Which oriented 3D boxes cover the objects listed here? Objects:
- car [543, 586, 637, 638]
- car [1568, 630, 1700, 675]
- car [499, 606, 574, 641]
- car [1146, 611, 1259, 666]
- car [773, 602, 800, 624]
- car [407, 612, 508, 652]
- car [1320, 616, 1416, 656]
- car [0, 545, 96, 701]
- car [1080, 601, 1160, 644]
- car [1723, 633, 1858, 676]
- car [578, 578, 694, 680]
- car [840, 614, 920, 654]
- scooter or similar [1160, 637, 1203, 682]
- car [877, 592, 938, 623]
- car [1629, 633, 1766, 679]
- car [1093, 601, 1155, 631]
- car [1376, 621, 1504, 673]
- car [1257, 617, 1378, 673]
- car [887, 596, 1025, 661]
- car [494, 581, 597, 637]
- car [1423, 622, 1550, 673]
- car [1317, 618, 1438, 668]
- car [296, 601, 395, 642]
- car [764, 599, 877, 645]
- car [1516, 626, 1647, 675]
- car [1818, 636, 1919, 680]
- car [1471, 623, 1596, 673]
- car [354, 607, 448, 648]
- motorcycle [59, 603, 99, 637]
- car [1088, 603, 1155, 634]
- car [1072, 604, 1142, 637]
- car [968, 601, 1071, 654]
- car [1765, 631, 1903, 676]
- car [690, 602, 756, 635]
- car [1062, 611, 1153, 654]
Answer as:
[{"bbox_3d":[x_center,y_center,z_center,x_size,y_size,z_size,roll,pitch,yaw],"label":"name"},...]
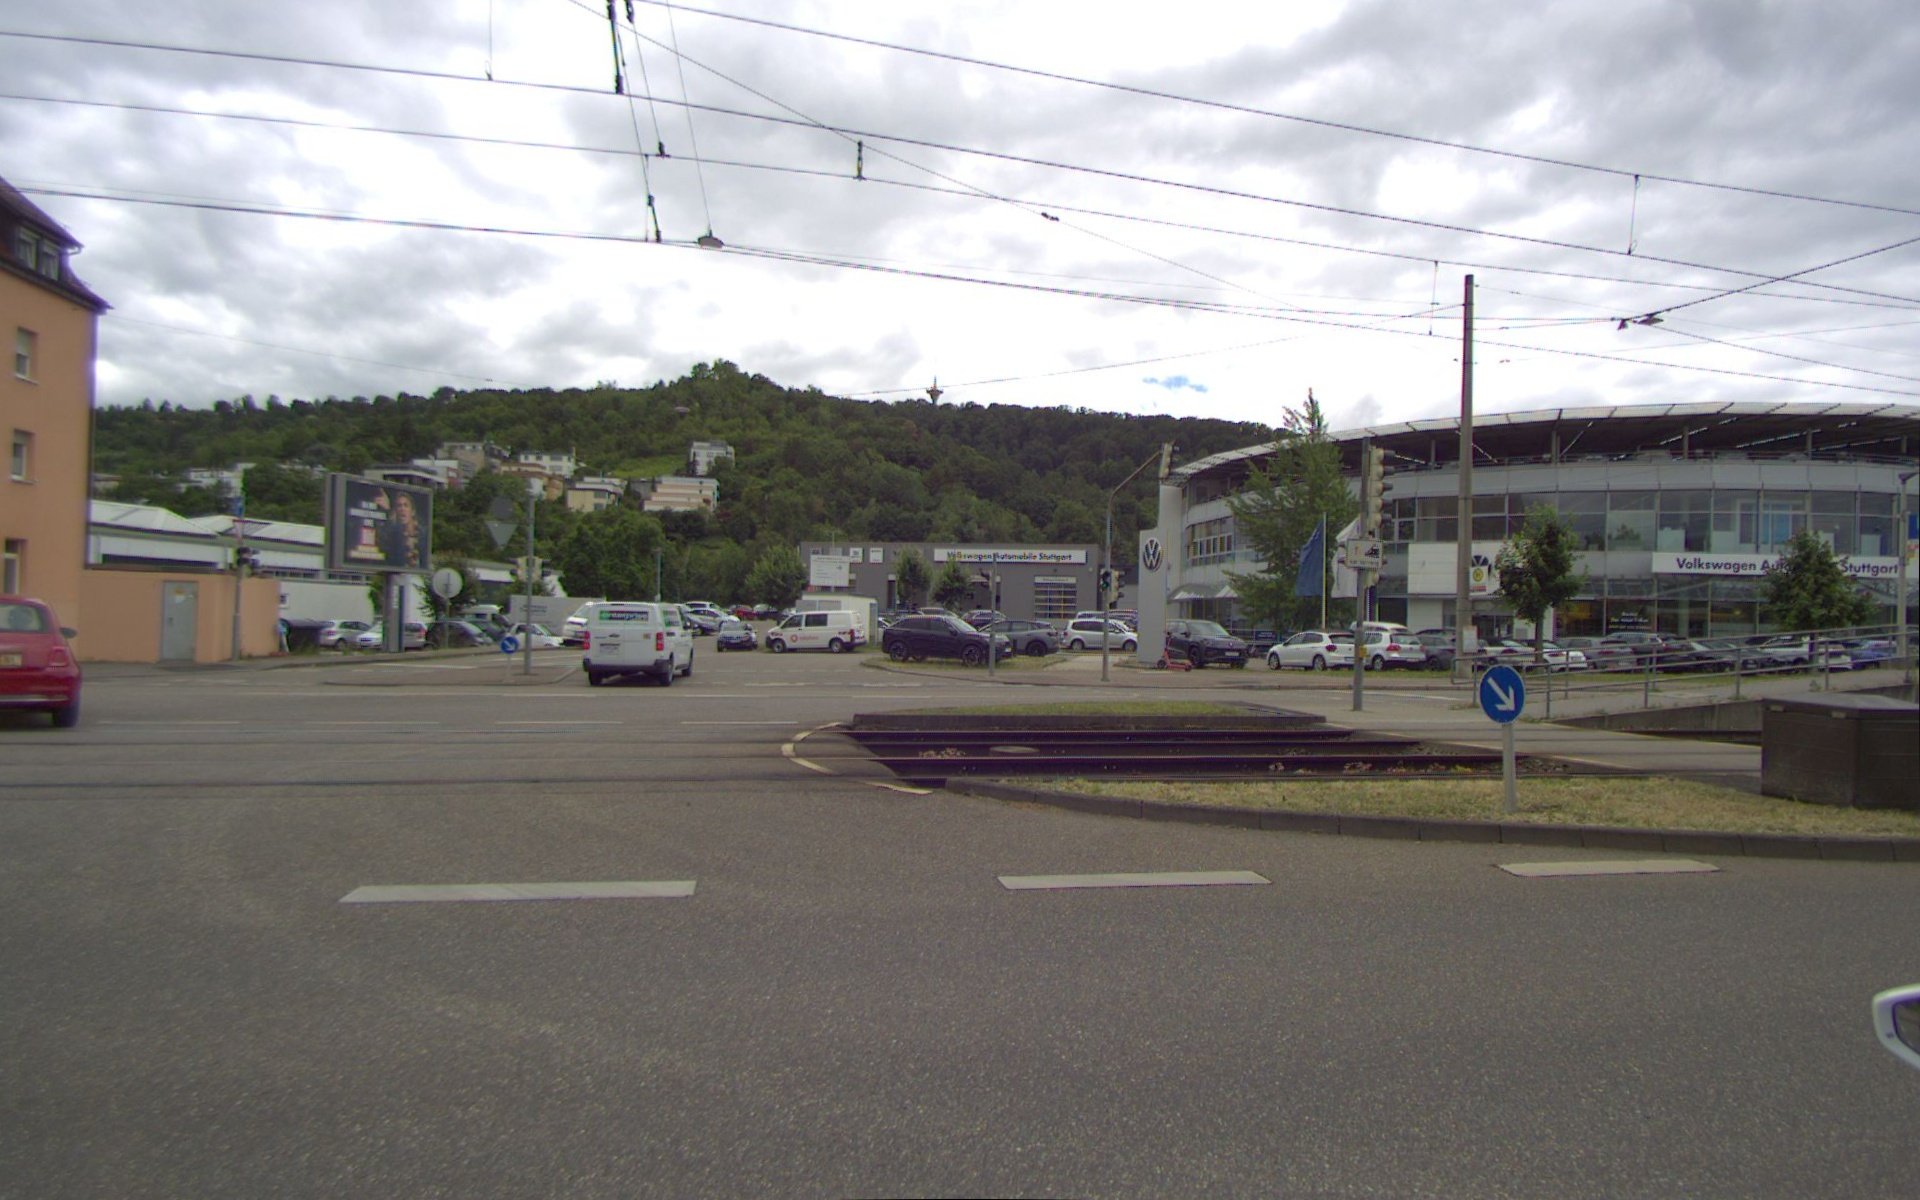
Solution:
[{"bbox_3d":[-15.301,0.547,41.838,2.043,1.877,4.907,6,-2,-2],"label":"car"},{"bbox_3d":[26.617,2.046,39.816,1.897,1.575,3.983,2,-1,-19],"label":"car"},{"bbox_3d":[-19.726,1.095,46.843,2.761,1.355,1.535,6,-2,-6],"label":"car"},{"bbox_3d":[8.349,1.301,34.959,1.969,1.661,3.983,3,-1,-19],"label":"car"},{"bbox_3d":[-18.300,1.399,106.387,1.961,2.022,4.511,6,-2,-1],"label":"car"},{"bbox_3d":[-20.736,1.312,41.594,3.515,1.506,1.596,2,-1,-19],"label":"car"},{"bbox_3d":[19.886,1.733,49.101,1.904,1.574,3.972,6,-2,-27],"label":"car"},{"bbox_3d":[-11.571,0.155,11.993,1.692,1.545,3.949,6,-1,-43],"label":"car"},{"bbox_3d":[9.323,1.335,58.766,4.420,2.022,2.002,5,-2,8],"label":"car"},{"bbox_3d":[34.031,2.198,41.299,1.893,1.574,3.993,2,-1,-10],"label":"car"},{"bbox_3d":[-7.833,0.607,24.714,1.970,2.067,4.821,5,1,-11],"label":"car"},{"bbox_3d":[-4.444,1.880,55.915,3.919,1.817,1.855,5,-2,11],"label":"car"},{"bbox_3d":[7.099,1.913,32.248,1.180,1.304,0.576,5,-2,3],"label":"scooter or similar"},{"bbox_3d":[-3.749,0.541,72.369,3.919,1.817,1.855,5,-2,11],"label":"car"},{"bbox_3d":[29.094,2.175,39.770,1.897,1.575,3.983,1,0,-19],"label":"car"},{"bbox_3d":[12.319,1.205,75.655,4.420,1.751,2.002,5,-2,7],"label":"car"},{"bbox_3d":[17.539,1.675,36.913,1.898,1.574,3.983,6,-2,-19],"label":"car"},{"bbox_3d":[12.767,1.574,36.137,1.970,1.661,3.983,6,-2,-19],"label":"car"},{"bbox_3d":[-0.131,0.862,32.490,3.923,1.662,1.999,5,3,22],"label":"car"},{"bbox_3d":[-20.473,0.471,49.819,4.446,2.271,1.990,6,-2,-21],"label":"car"},{"bbox_3d":[19.810,1.748,37.975,1.898,1.574,3.983,6,-2,-19],"label":"car"},{"bbox_3d":[15.101,1.531,36.570,1.787,1.495,3.983,6,-2,-19],"label":"car"},{"bbox_3d":[-31.731,1.171,52.038,1.960,1.862,4.513,5,-2,4],"label":"car"},{"bbox_3d":[-6.670,1.085,48.147,4.916,2.040,2.002,1,-3,13],"label":"car"},{"bbox_3d":[24.144,1.938,39.205,1.898,1.574,3.983,6,-2,-19],"label":"car"},{"bbox_3d":[38.718,2.415,41.978,1.894,1.574,3.993,6,-2,-10],"label":"car"},{"bbox_3d":[22.059,1.815,38.783,1.703,1.574,3.983,6,-2,-19],"label":"car"},{"bbox_3d":[-28.927,1.459,52.178,1.960,1.862,4.513,5,-2,4],"label":"car"},{"bbox_3d":[-30.415,0.686,34.664,1.680,0.997,0.528,4,-2,34],"label":"motorcycle"},{"bbox_3d":[11.310,1.304,70.563,4.420,1.751,2.002,5,-2,7],"label":"car"},{"bbox_3d":[9.687,1.372,66.401,4.420,1.751,2.002,5,-2,7],"label":"car"},{"bbox_3d":[2.377,1.133,41.071,3.923,1.727,2.000,6,-2,-1],"label":"car"},{"bbox_3d":[36.625,2.197,42.222,1.894,1.574,3.993,6,-2,-10],"label":"car"},{"bbox_3d":[-17.857,1.416,75.907,4.427,2.022,1.999,6,-2,-5],"label":"car"},{"bbox_3d":[7.542,1.678,51.560,4.420,1.751,2.002,5,-2,7],"label":"car"}]
